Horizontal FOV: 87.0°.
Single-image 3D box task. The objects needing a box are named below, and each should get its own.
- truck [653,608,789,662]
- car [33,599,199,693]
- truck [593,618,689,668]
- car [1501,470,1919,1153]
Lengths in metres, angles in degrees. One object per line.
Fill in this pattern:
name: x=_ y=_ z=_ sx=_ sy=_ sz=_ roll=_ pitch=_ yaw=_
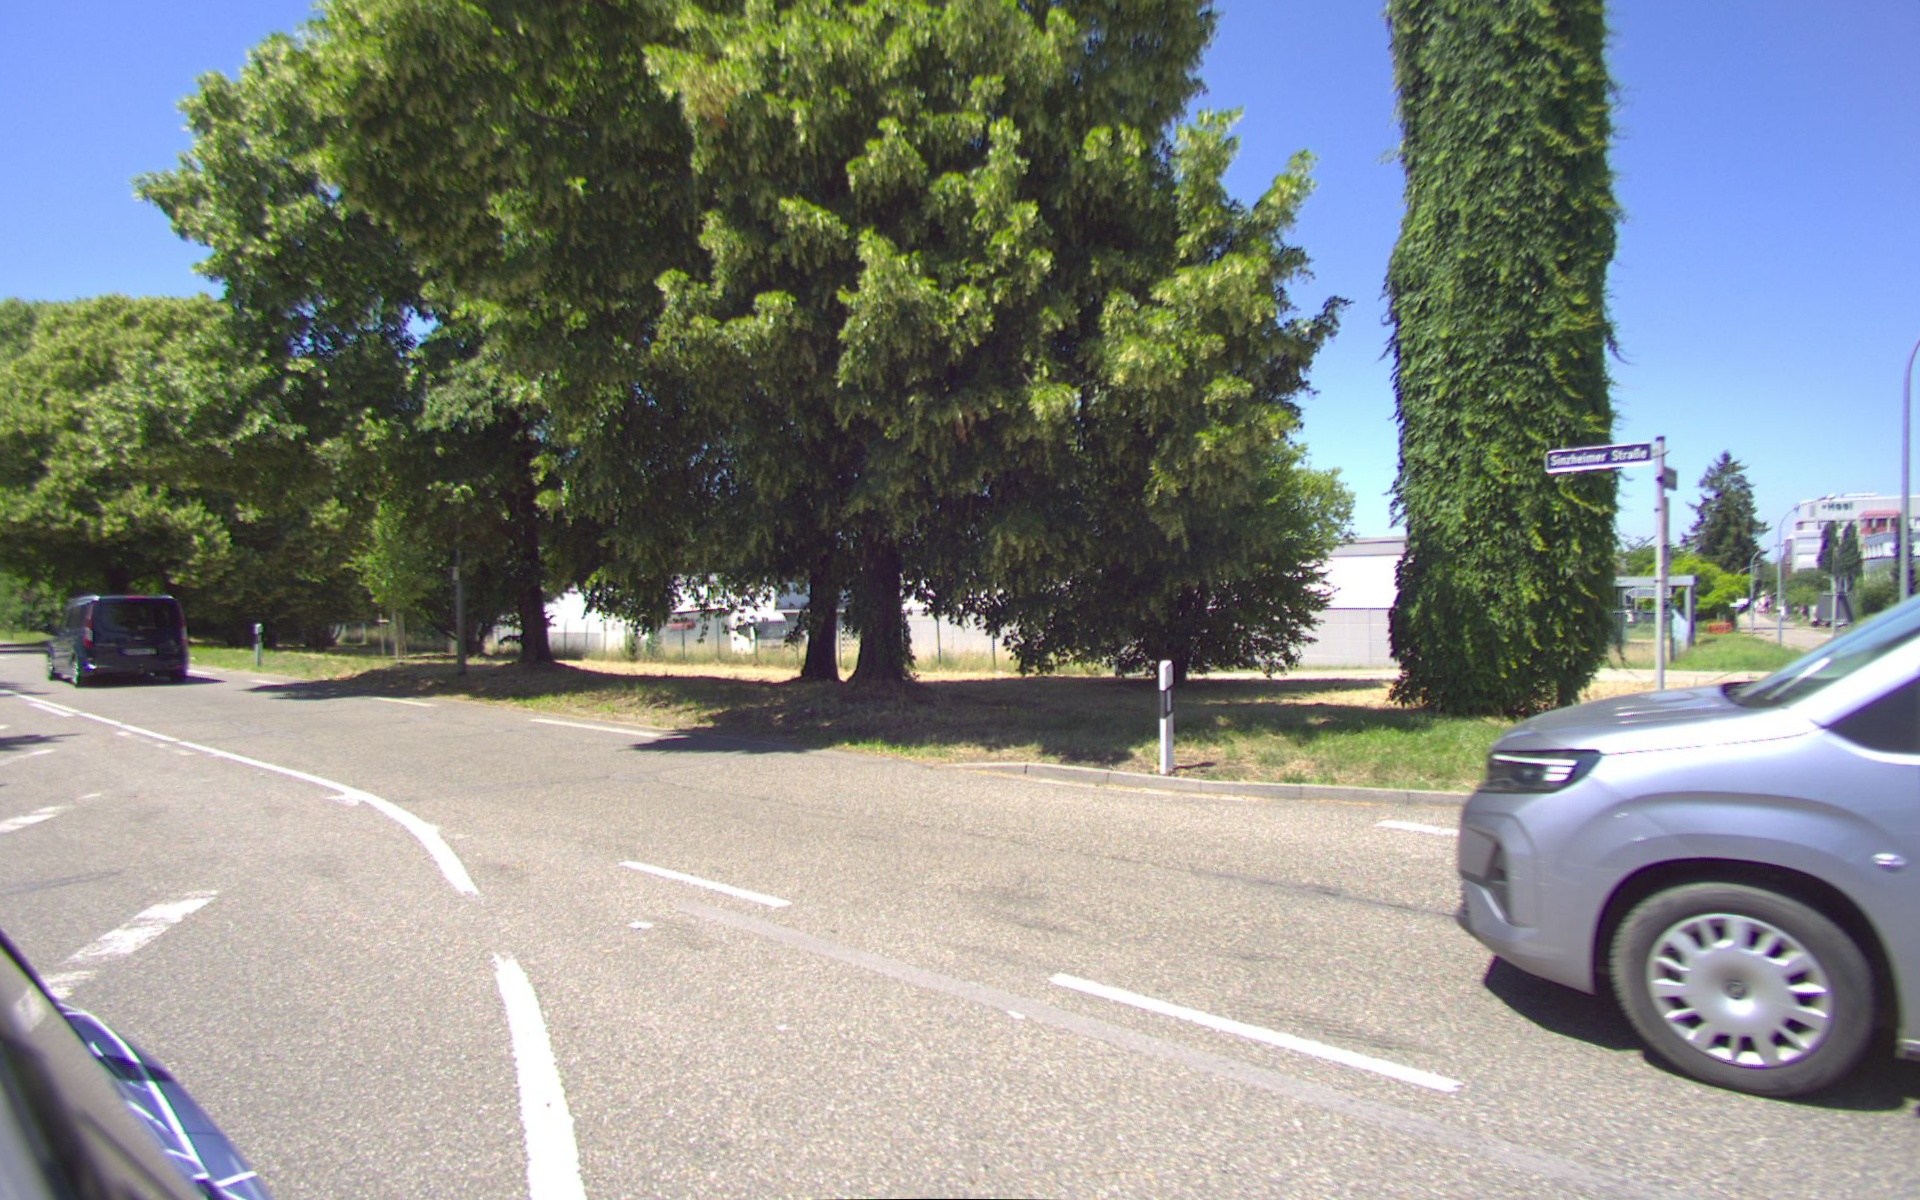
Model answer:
truck: x=-13.788 y=1.967 z=57.659 sx=2.654 sy=2.818 sz=10.165 roll=-1 pitch=-1 yaw=-44
car: x=-17.975 y=0.950 z=21.472 sx=4.777 sy=1.795 sz=1.805 roll=-1 pitch=-3 yaw=39
truck: x=-20.442 y=2.682 z=64.504 sx=2.405 sy=2.950 sz=8.169 roll=-1 pitch=-1 yaw=-44
car: x=4.006 y=0.540 z=2.613 sx=4.358 sy=1.786 sz=1.779 roll=-1 pitch=-2 yaw=38
